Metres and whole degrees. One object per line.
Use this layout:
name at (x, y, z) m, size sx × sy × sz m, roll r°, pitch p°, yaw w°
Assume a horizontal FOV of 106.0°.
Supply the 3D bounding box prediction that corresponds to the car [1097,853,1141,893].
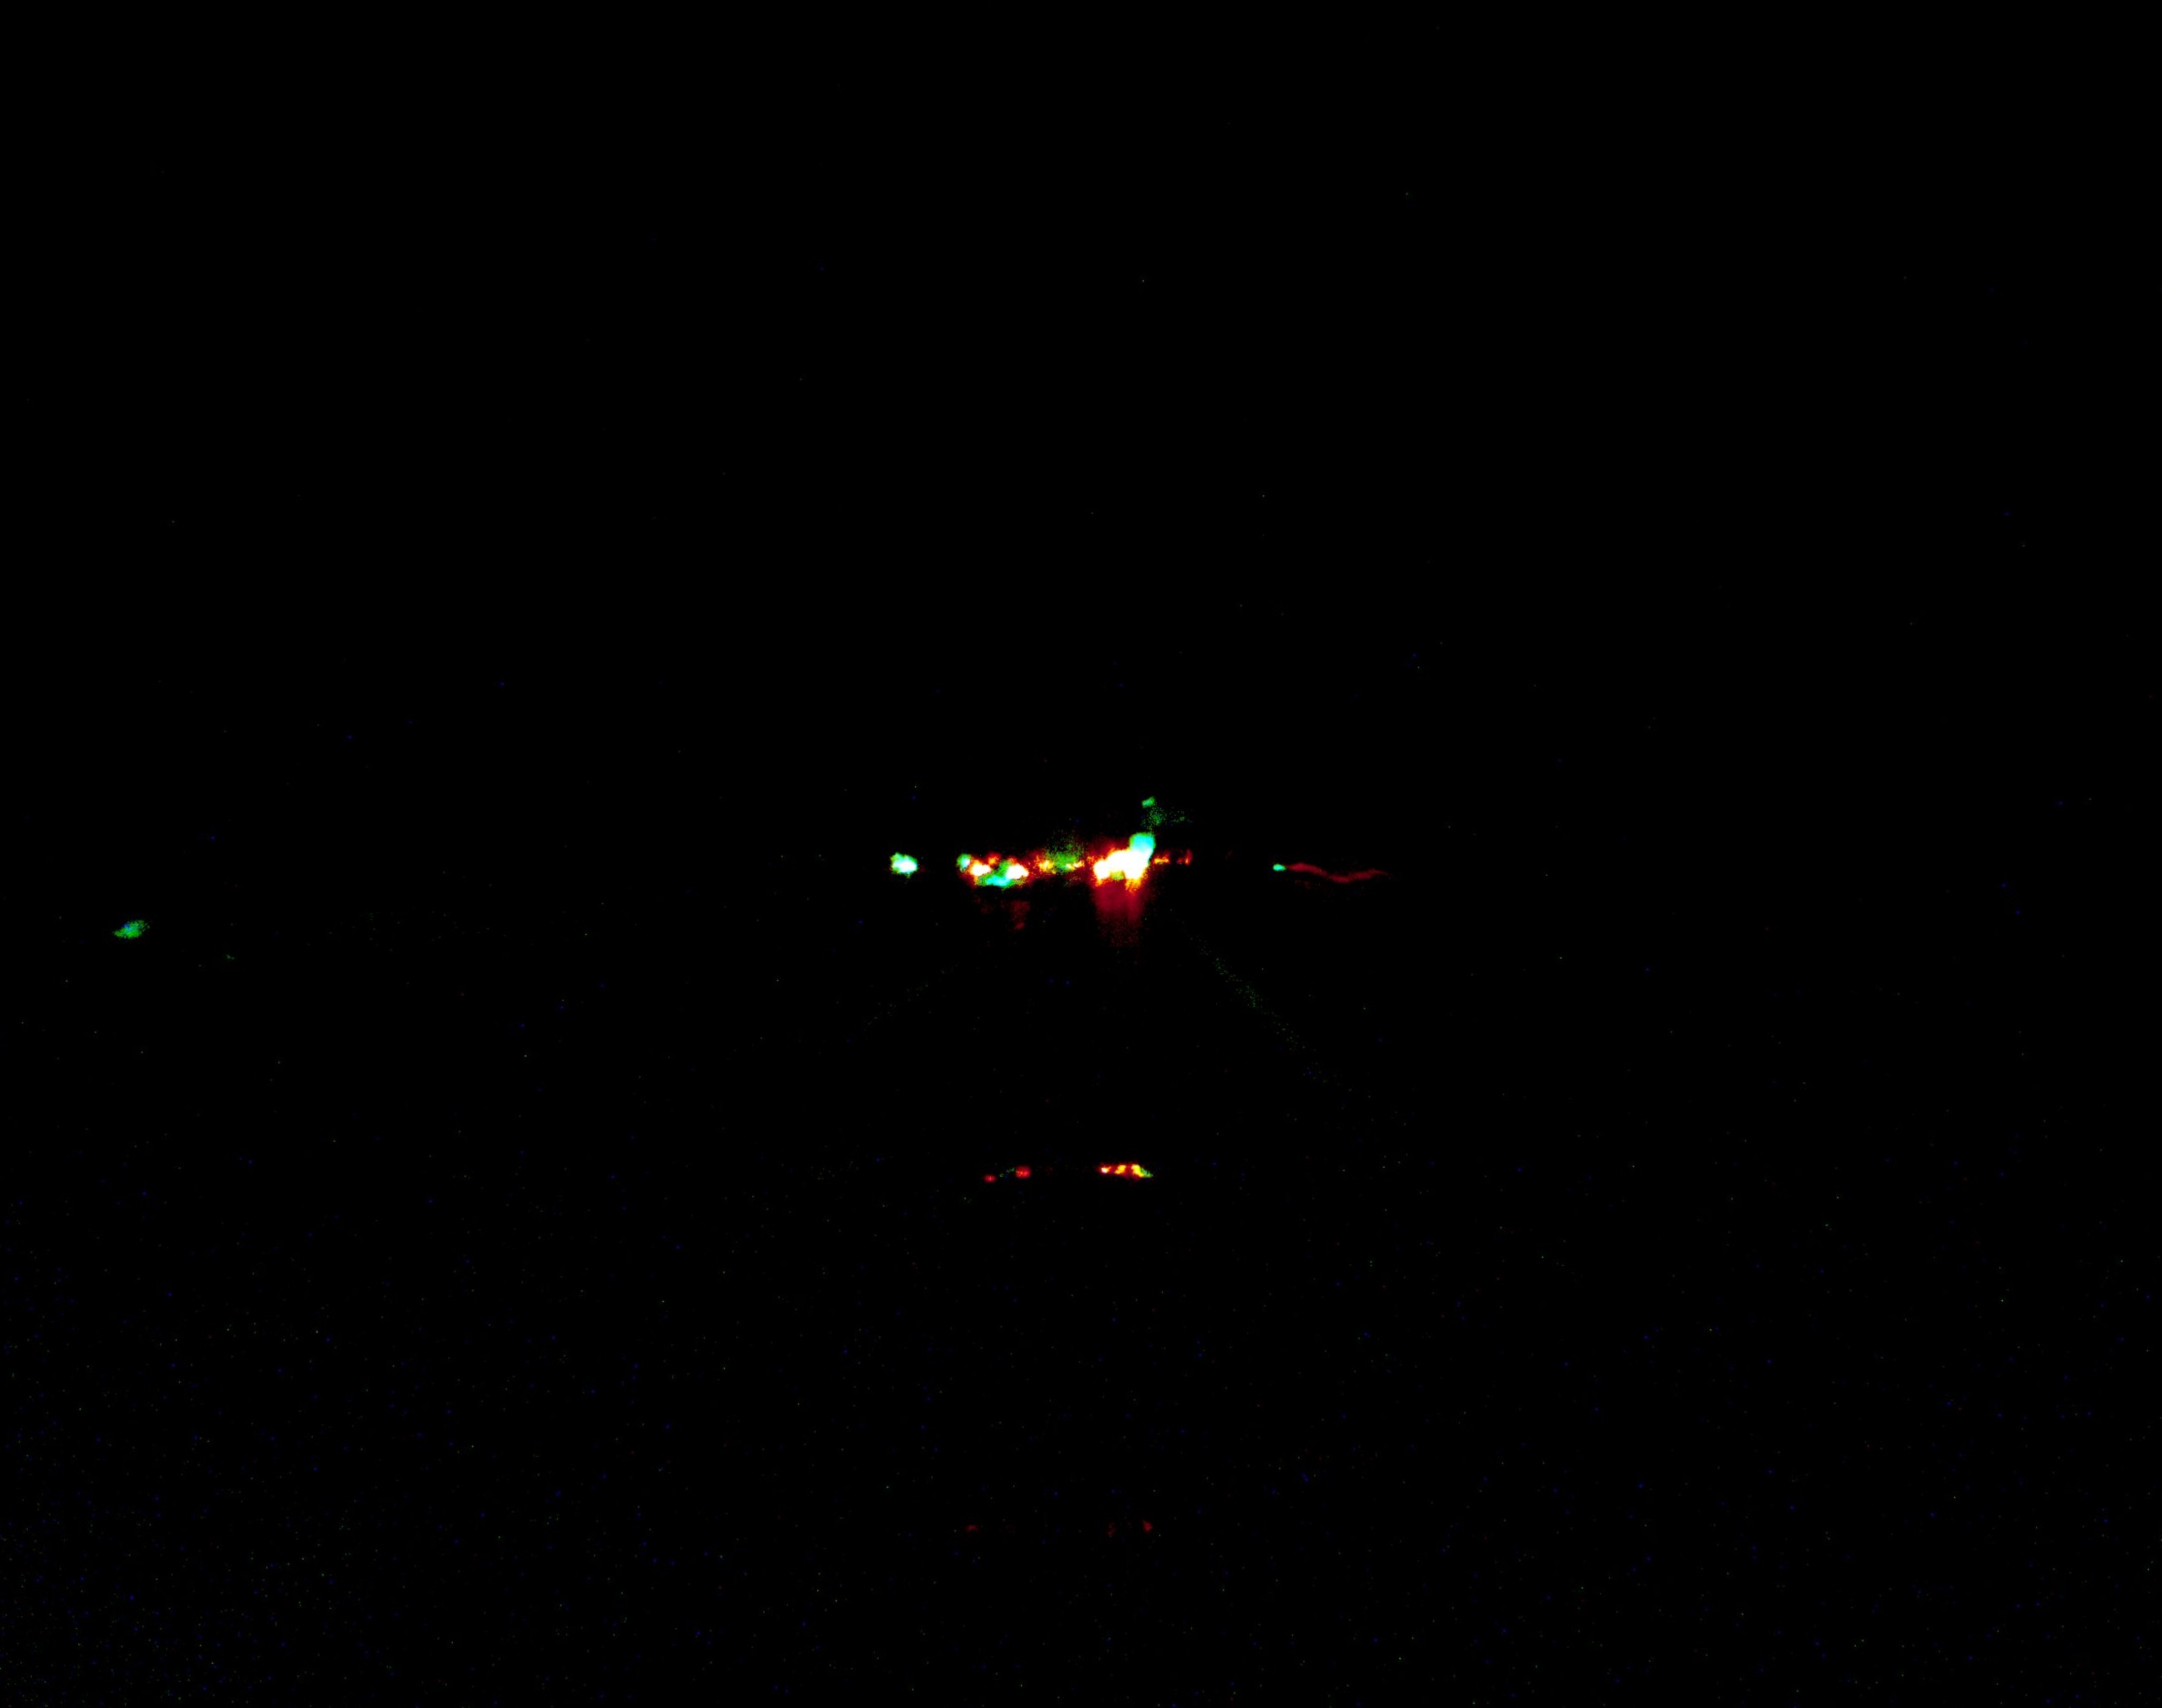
car at (1.789, 0.886, 38.906) m, size 1.986 × 1.807 × 4.002 m, roll 0°, pitch 0°, yaw 2°

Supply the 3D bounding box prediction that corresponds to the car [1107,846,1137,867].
car at (3.653, 0.215, 74.057) m, size 1.993 × 1.807 × 3.988 m, roll 0°, pitch 0°, yaw -9°

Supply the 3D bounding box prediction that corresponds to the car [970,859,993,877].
car at (-9.206, 1.275, 75.510) m, size 1.990 × 1.596 × 3.993 m, roll 0°, pitch 0°, yaw -5°

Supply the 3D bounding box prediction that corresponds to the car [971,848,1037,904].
car at (-2.875, 0.792, 31.352) m, size 2.119 × 2.014 × 4.644 m, roll 0°, pitch 0°, yaw 0°

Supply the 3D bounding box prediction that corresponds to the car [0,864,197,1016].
car at (-11.592, 0.845, 7.113) m, size 1.986 × 1.476 × 5.167 m, roll 0°, pitch 0°, yaw 2°

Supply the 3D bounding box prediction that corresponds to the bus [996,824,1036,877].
bus at (-5.845, -0.286, 74.796) m, size 3.088 × 4.508 × 10.906 m, roll 0°, pitch 0°, yaw -1°

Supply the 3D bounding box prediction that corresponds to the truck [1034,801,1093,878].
truck at (-1.217, -1.030, 65.660) m, size 4.195 × 5.648 × 11.470 m, roll 0°, pitch 0°, yaw 1°
